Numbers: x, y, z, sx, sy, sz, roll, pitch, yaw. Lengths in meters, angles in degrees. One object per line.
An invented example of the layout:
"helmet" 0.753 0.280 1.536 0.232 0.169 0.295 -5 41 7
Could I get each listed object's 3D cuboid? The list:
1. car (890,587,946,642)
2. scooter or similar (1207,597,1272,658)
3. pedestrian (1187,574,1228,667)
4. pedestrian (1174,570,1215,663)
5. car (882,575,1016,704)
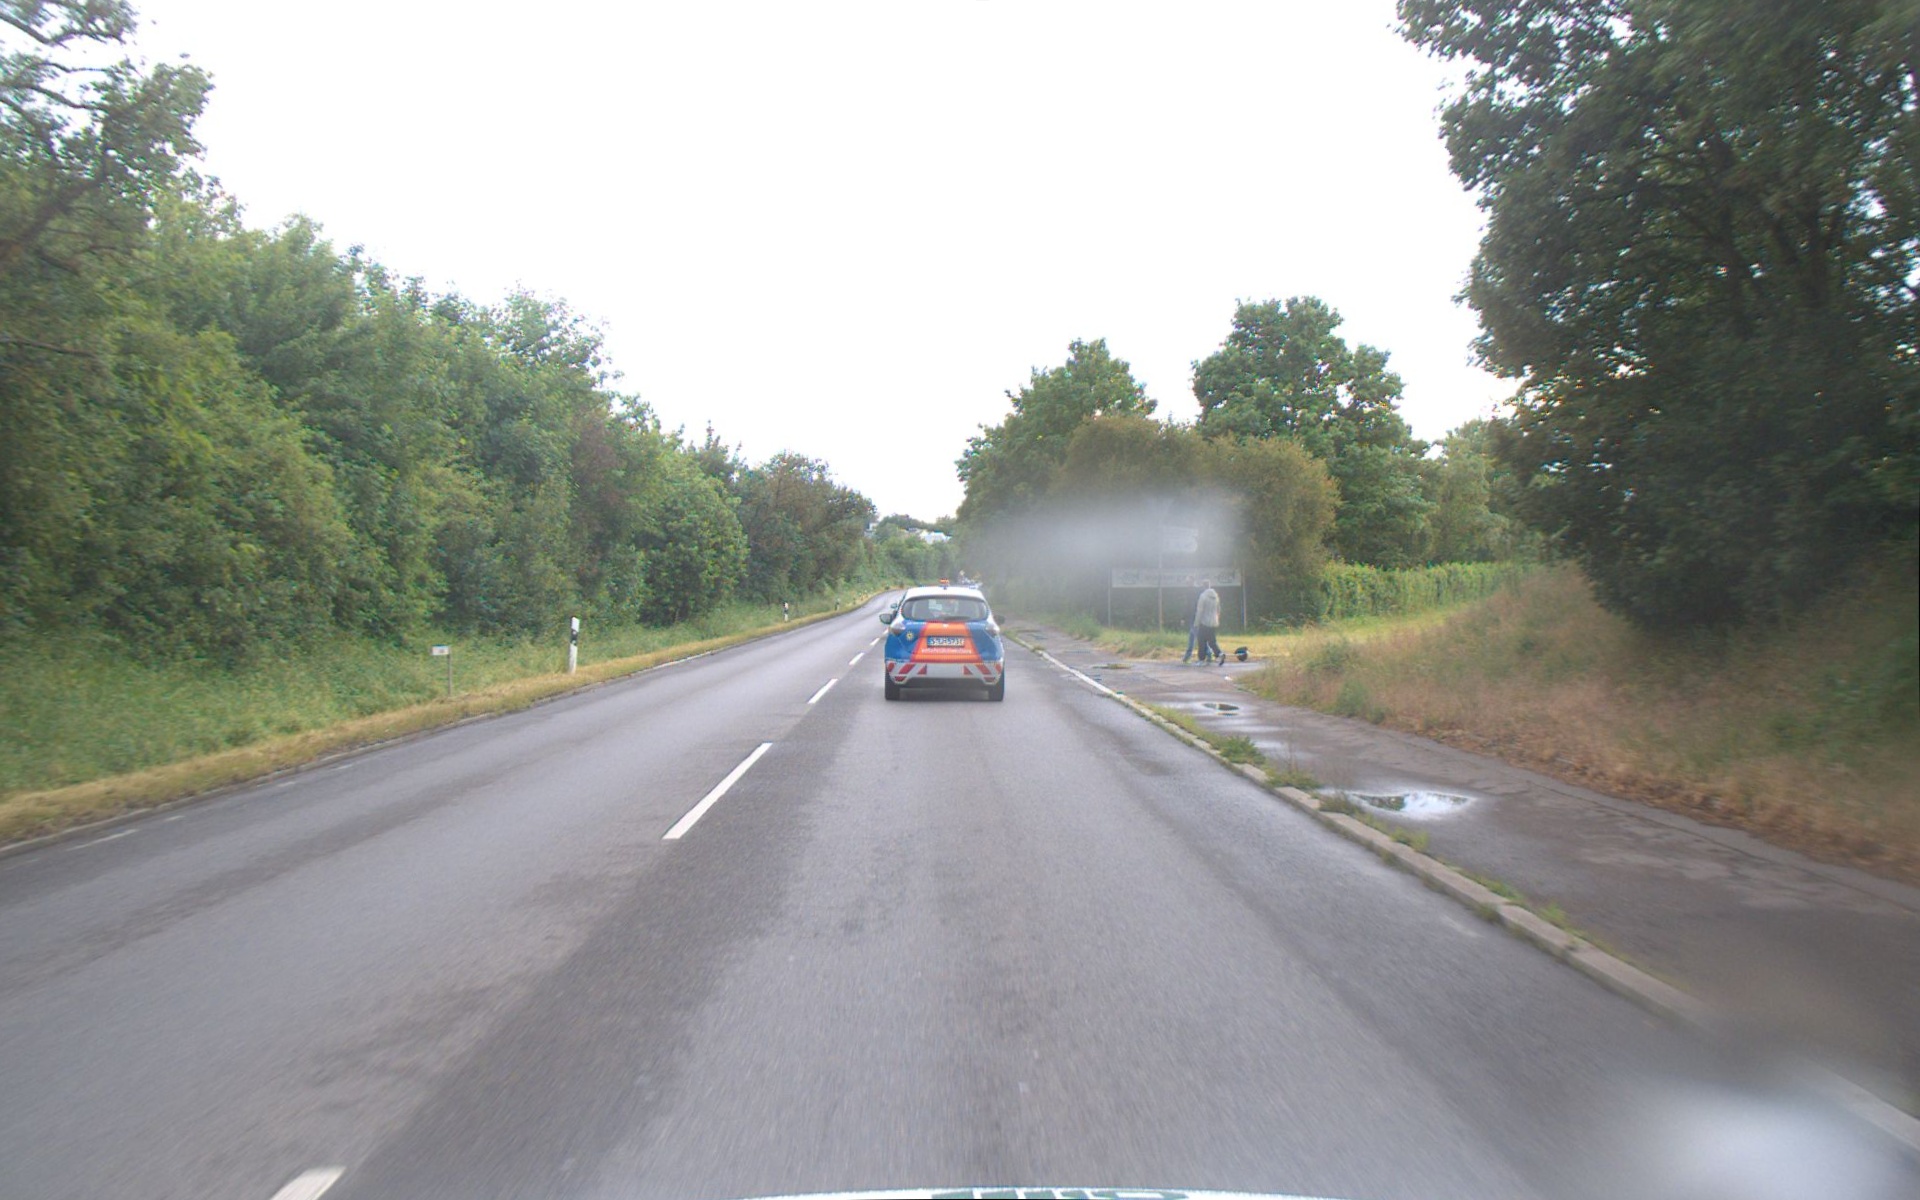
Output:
"car" -1.301 0.444 51.836 1.659 1.623 3.855 1 0 -1
"scooter or similar" 5.746 0.573 34.053 1.303 1.227 0.372 -1 0 40
"pedestrian" 4.902 0.405 32.775 0.647 1.809 0.760 -1 0 -1
"pedestrian" 4.754 0.334 33.598 0.679 1.859 0.801 -1 0 -1
"car" -0.190 0.539 24.322 1.769 1.697 3.855 1 0 -1
